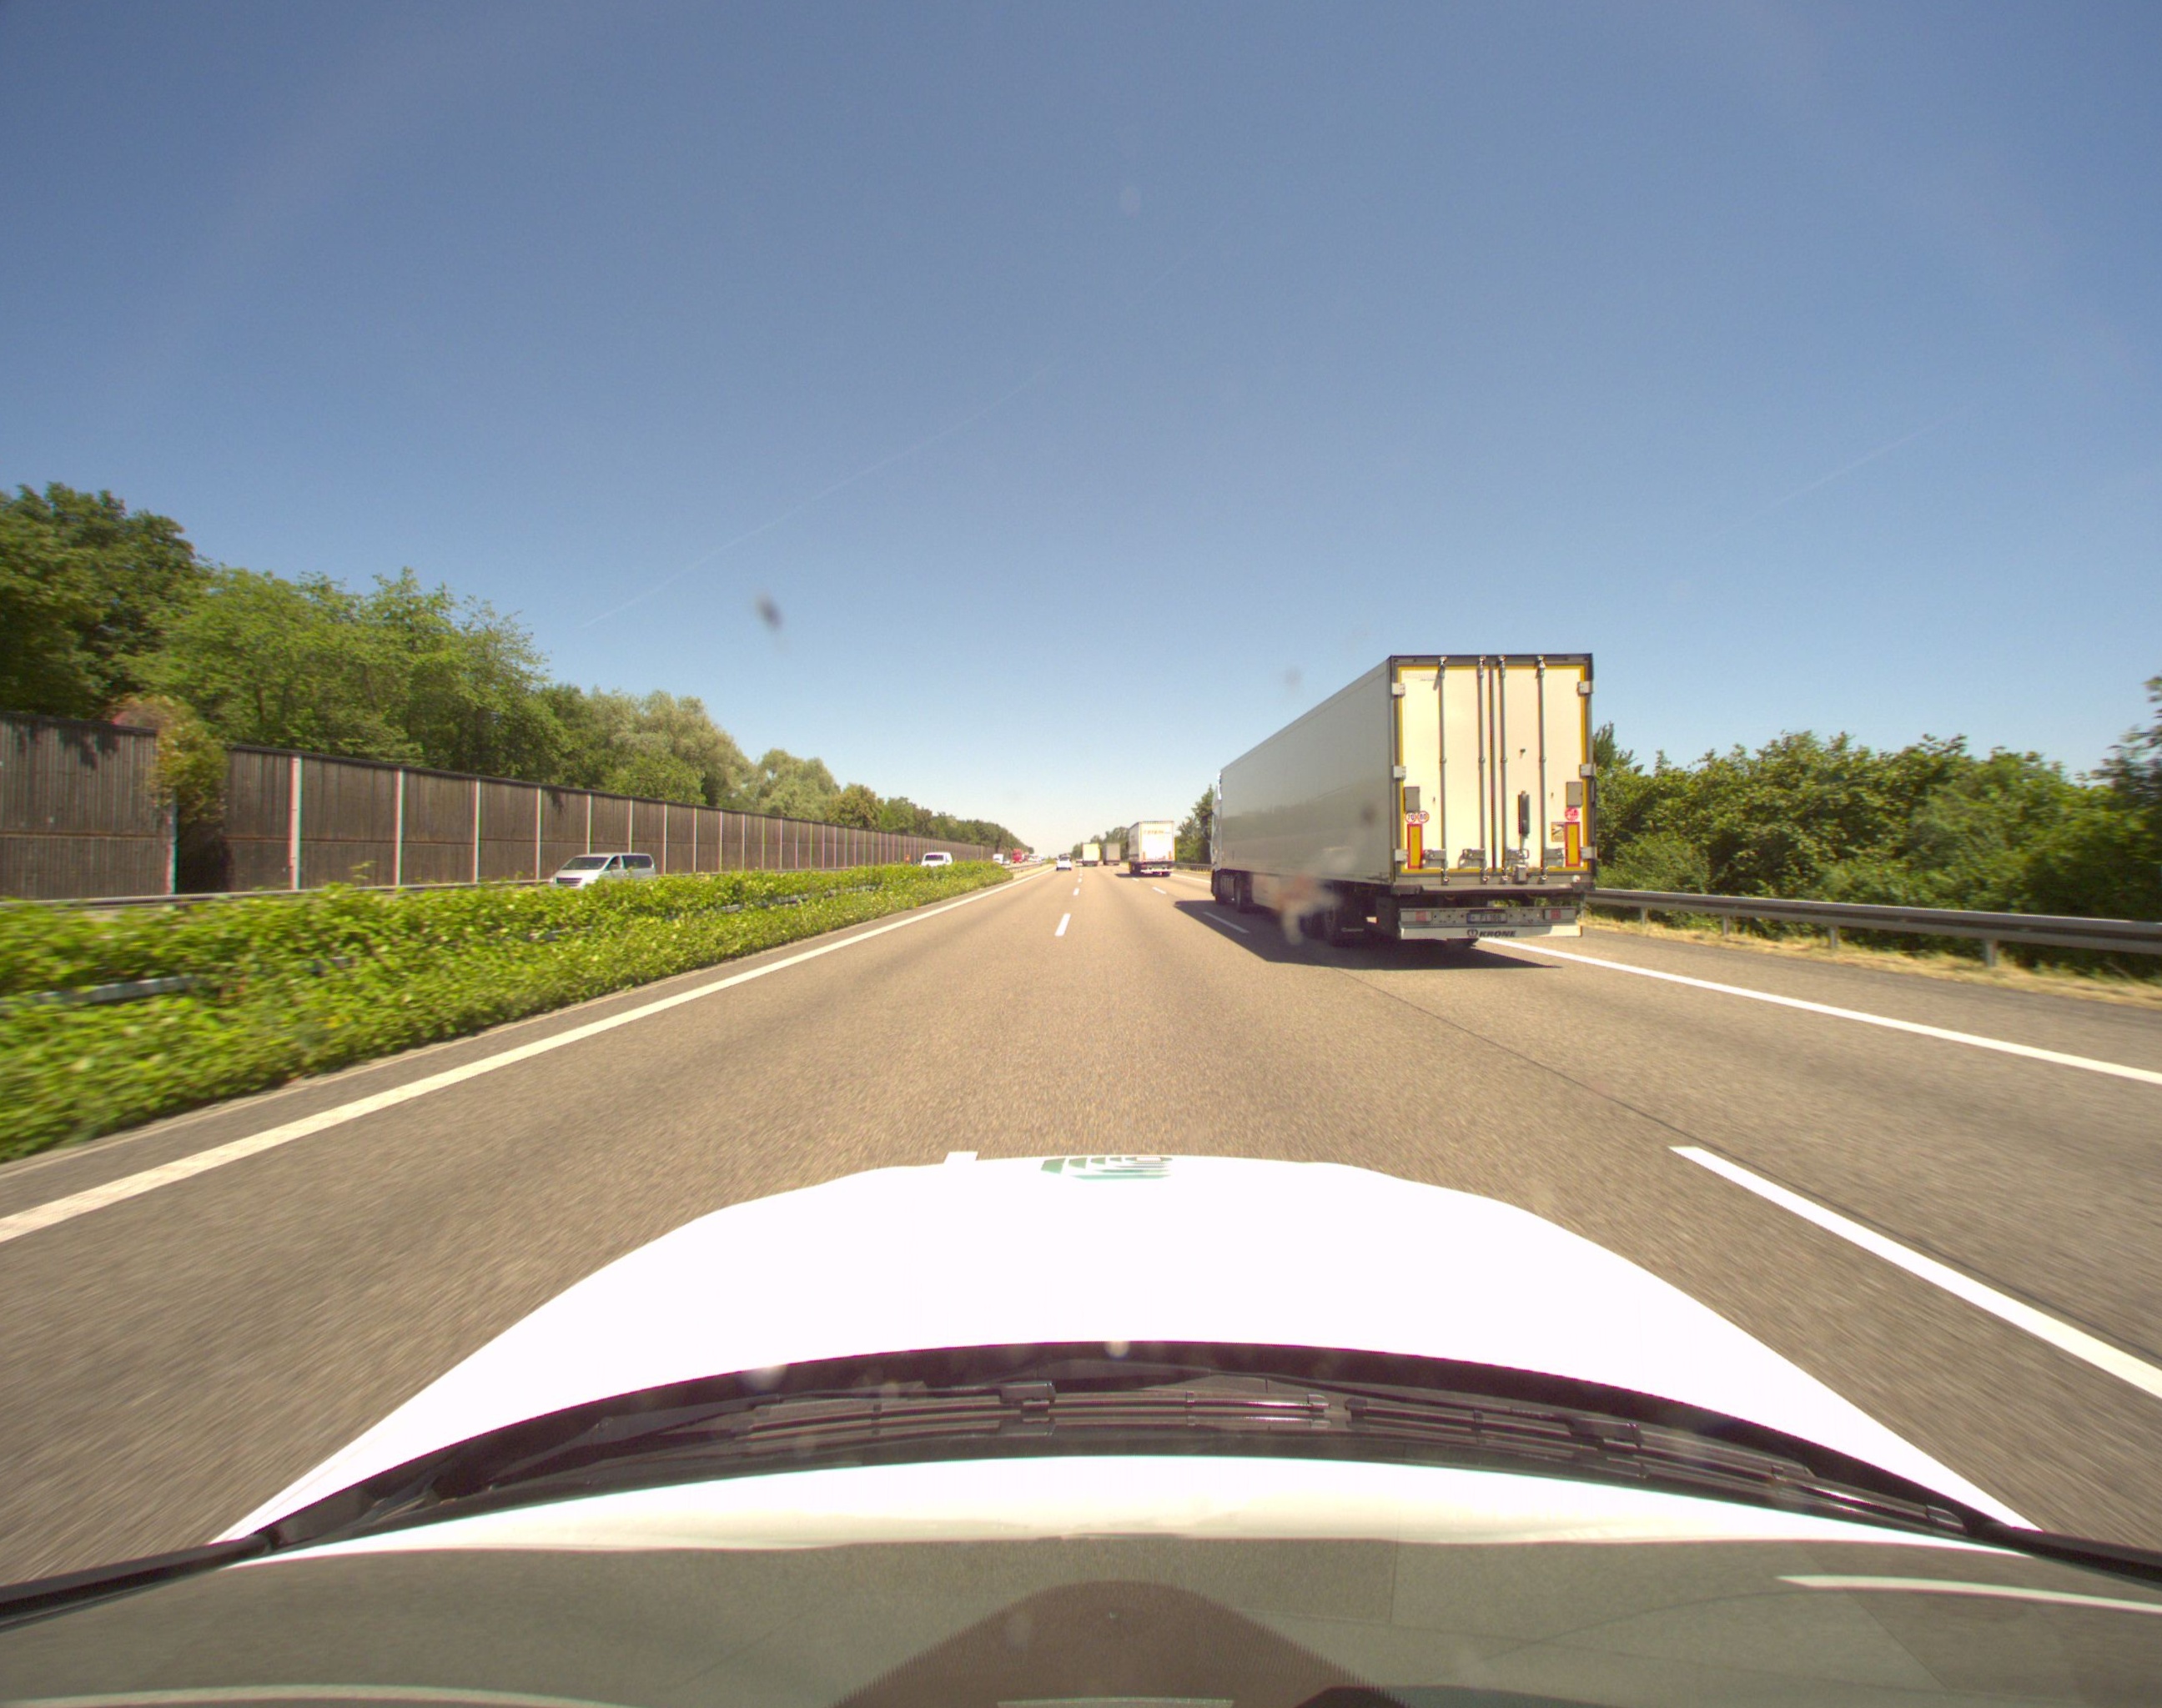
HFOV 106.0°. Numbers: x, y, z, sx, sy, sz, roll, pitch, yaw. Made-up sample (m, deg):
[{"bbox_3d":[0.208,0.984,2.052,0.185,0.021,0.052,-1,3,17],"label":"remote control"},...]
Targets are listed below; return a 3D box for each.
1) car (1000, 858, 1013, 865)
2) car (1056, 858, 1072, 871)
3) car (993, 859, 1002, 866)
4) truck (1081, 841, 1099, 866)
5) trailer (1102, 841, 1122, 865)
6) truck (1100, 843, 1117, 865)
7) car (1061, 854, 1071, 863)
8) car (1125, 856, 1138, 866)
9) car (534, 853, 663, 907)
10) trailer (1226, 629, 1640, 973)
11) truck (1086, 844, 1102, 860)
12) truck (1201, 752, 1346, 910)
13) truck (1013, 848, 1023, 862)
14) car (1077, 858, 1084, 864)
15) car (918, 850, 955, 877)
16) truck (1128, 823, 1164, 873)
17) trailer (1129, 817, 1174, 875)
[{"bbox_3d":[-16.080,1.583,175.716,2.117,1.522,5.982,-1,0,1],"label":"car"},{"bbox_3d":[-2.020,1.286,98.593,1.850,1.486,3.998,-1,0,-1],"label":"car"},{"bbox_3d":[-20.724,2.028,202.553,1.894,1.711,4.903,-1,0,-2],"label":"car"},{"bbox_3d":[1.469,-0.014,143.929,2.699,4.086,13.466,0,-1,-1],"label":"truck"},{"bbox_3d":[5.734,-0.107,154.132,2.697,4.216,13.196,0,-1,-3],"label":"trailer"},{"bbox_3d":[5.430,-0.046,160.342,2.685,4.216,7.829,0,-1,-3],"label":"truck"},{"bbox_3d":[-2.742,0.823,151.992,1.850,1.617,3.998,-1,0,-1],"label":"car"},{"bbox_3d":[8.435,1.174,136.955,1.850,1.617,3.998,-1,0,-1],"label":"car"},{"bbox_3d":[-19.633,1.002,33.504,1.986,2.013,5.386,-1,0,1],"label":"car"},{"bbox_3d":[5.360,-0.619,16.082,2.948,4.106,12.535,-1,0,1],"label":"trailer"},{"bbox_3d":[3.697,-0.590,231.130,3.368,4.304,11.430,3,0,-5],"label":"truck"},{"bbox_3d":[5.519,-0.589,24.509,2.949,4.106,6.208,-1,0,1],"label":"truck"},{"bbox_3d":[-18.708,0.364,241.679,2.351,4.076,7.150,-1,0,0],"label":"truck"},{"bbox_3d":[-0.173,1.770,216.348,1.848,1.617,4.001,-1,0,1],"label":"car"},{"bbox_3d":[-11.497,0.750,64.949,1.987,2.013,5.345,-1,0,0],"label":"car"},{"bbox_3d":[5.560,-0.505,70.563,2.697,4.088,6.966,0,0,1],"label":"truck"},{"bbox_3d":[5.435,-0.523,65.145,2.697,4.088,14.153,0,0,1],"label":"trailer"}]
